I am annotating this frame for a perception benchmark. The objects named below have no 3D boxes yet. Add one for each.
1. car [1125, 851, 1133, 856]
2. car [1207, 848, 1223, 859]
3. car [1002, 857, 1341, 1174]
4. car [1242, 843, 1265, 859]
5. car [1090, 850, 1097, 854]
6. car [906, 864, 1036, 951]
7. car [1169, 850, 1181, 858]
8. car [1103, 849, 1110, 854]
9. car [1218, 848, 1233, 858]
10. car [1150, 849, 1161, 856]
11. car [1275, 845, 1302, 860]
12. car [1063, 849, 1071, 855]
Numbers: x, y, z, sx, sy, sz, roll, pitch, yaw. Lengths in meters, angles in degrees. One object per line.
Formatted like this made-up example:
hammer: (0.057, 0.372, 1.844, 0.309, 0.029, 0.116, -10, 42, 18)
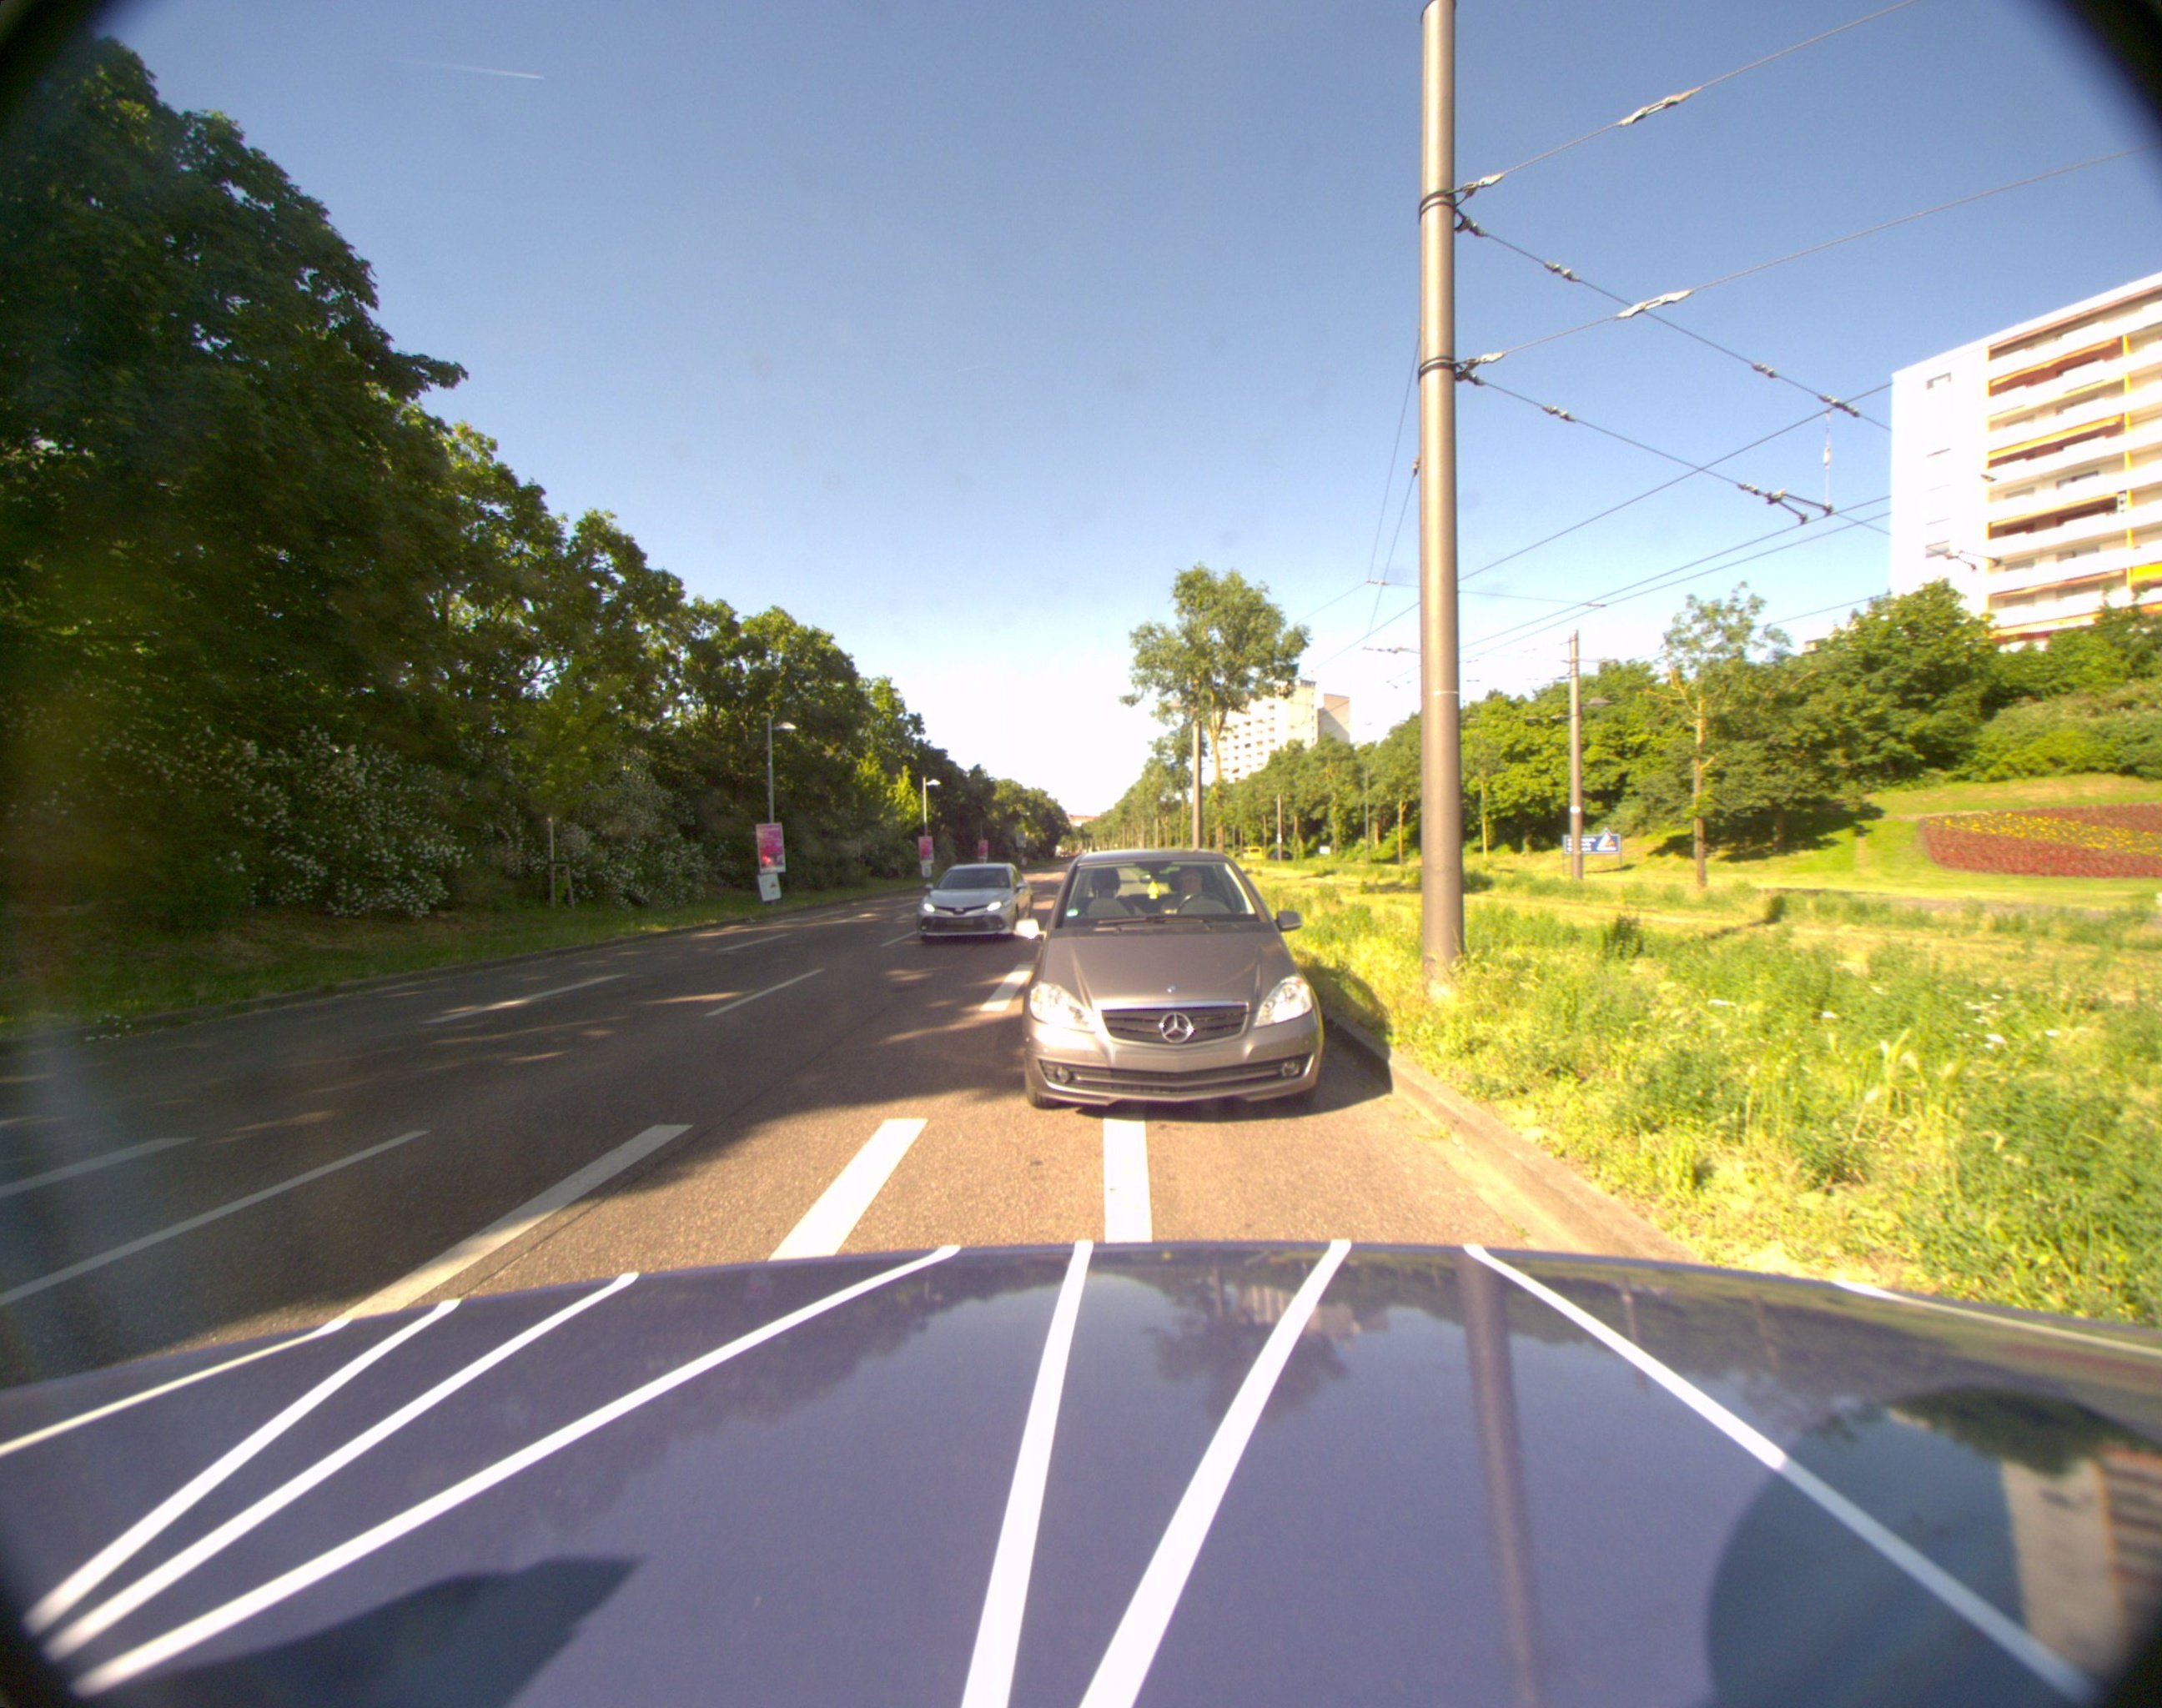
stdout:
car: (13.414, -0.204, 211.406, 1.803, 1.455, 3.998, -1, 0, -4)
car: (19.334, -0.068, 110.029, 1.693, 1.399, 4.021, -1, 0, 1)
car: (0.501, 0.857, 5.924, 1.759, 1.612, 3.880, -1, 0, 1)
car: (22.800, -0.421, 100.499, 1.998, 1.955, 4.907, -1, 0, 1)
car: (4.073, -0.655, 246.327, 1.803, 1.455, 3.998, 0, 1, -5)
car: (-2.086, 0.981, 15.751, 1.876, 1.428, 4.594, -1, 0, 2)
car: (17.416, -0.055, 140.892, 1.799, 1.408, 4.310, -1, 0, 2)
car: (8.095, -0.794, 242.823, 1.803, 1.455, 3.998, 0, 1, -4)
car: (22.339, -0.157, 117.550, 1.780, 1.368, 4.001, -1, 0, 3)
car: (16.198, -0.262, 165.275, 1.799, 1.408, 4.309, -1, 0, -1)
car: (23.506, -0.194, 86.384, 1.998, 1.565, 4.106, -1, 0, 1)
car: (-3.764, -0.543, 202.948, 1.998, 1.702, 4.000, -1, 0, 1)
